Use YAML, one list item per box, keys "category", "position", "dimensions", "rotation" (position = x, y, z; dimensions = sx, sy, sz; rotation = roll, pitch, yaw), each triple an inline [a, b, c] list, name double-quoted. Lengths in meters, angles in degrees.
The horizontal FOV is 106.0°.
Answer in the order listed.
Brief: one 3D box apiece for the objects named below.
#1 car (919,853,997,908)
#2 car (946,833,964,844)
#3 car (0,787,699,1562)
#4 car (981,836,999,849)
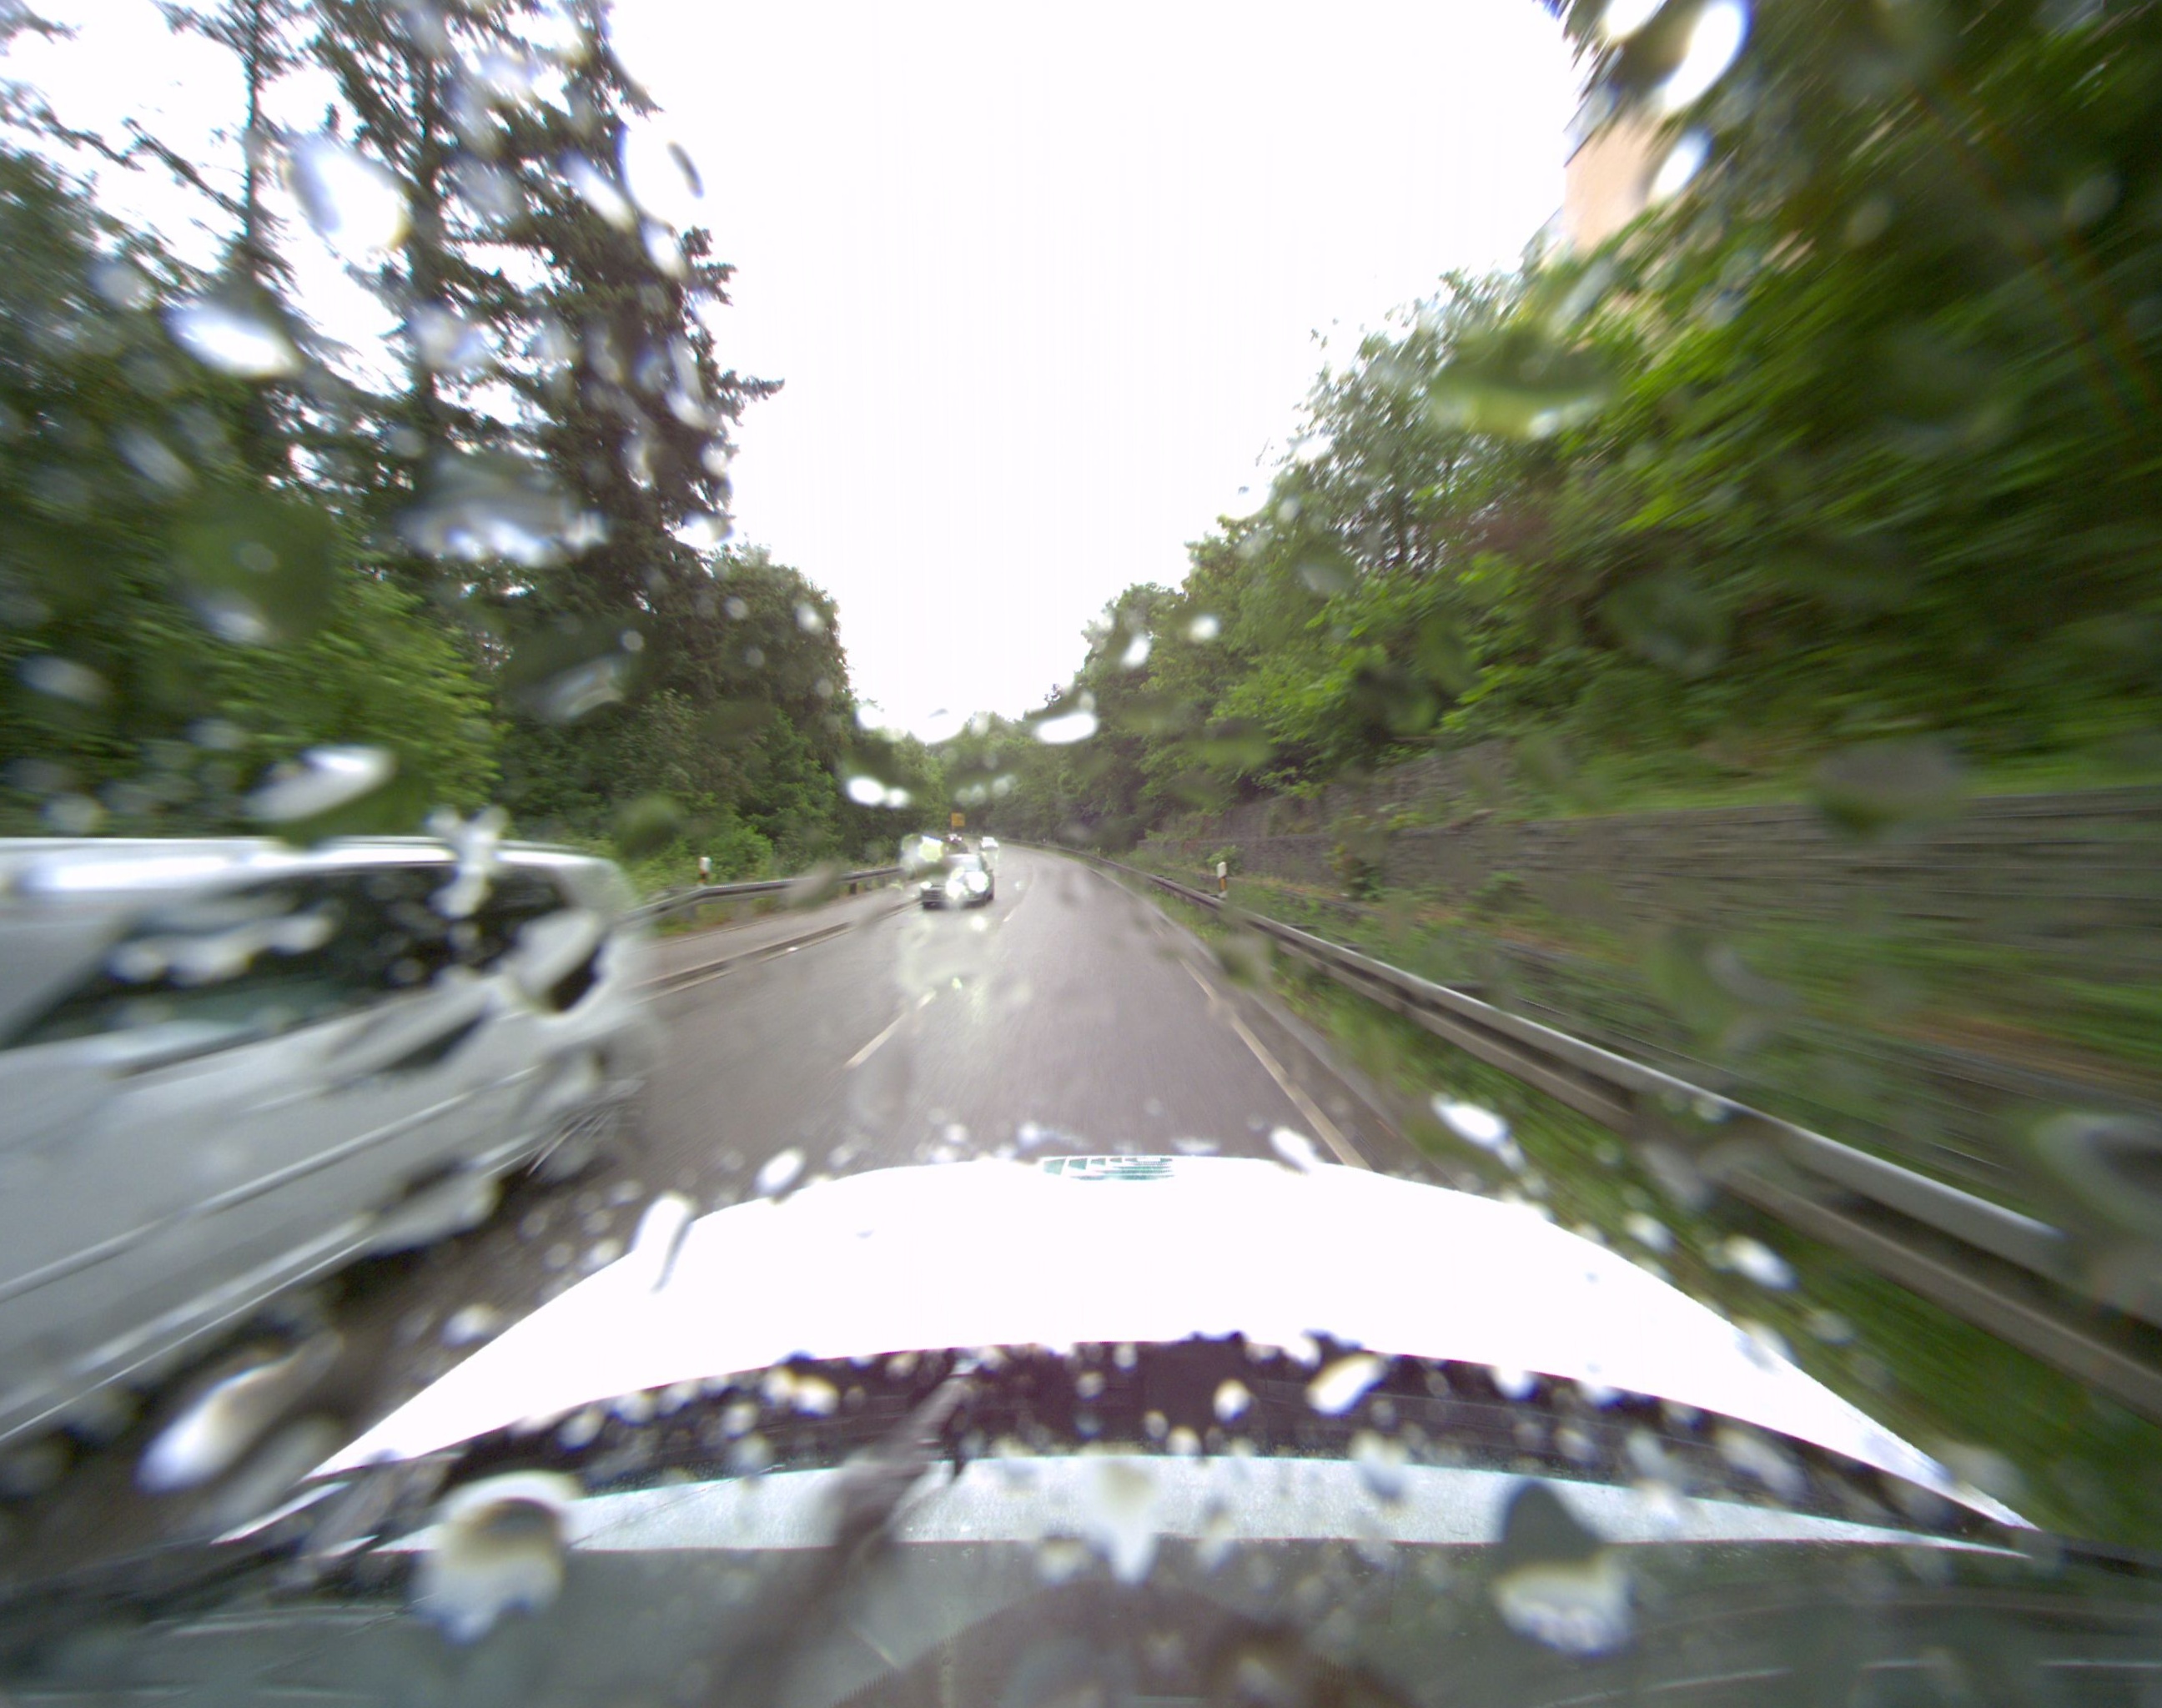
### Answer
- category: "car"
  position: [-3.507, 0.722, 23.904]
  dimensions: [1.810, 1.434, 3.996]
  rotation: [-1, 0, -3]
- category: "car"
  position: [-17.794, -2.201, 114.508]
  dimensions: [1.800, 1.409, 3.974]
  rotation: [-1, -1, -19]
- category: "car"
  position: [-3.191, 0.705, 2.681]
  dimensions: [1.808, 1.648, 4.132]
  rotation: [-1, -1, 1]
- category: "car"
  position: [-10.274, -1.278, 91.556]
  dimensions: [1.597, 1.409, 3.409]
  rotation: [-1, -1, -14]
